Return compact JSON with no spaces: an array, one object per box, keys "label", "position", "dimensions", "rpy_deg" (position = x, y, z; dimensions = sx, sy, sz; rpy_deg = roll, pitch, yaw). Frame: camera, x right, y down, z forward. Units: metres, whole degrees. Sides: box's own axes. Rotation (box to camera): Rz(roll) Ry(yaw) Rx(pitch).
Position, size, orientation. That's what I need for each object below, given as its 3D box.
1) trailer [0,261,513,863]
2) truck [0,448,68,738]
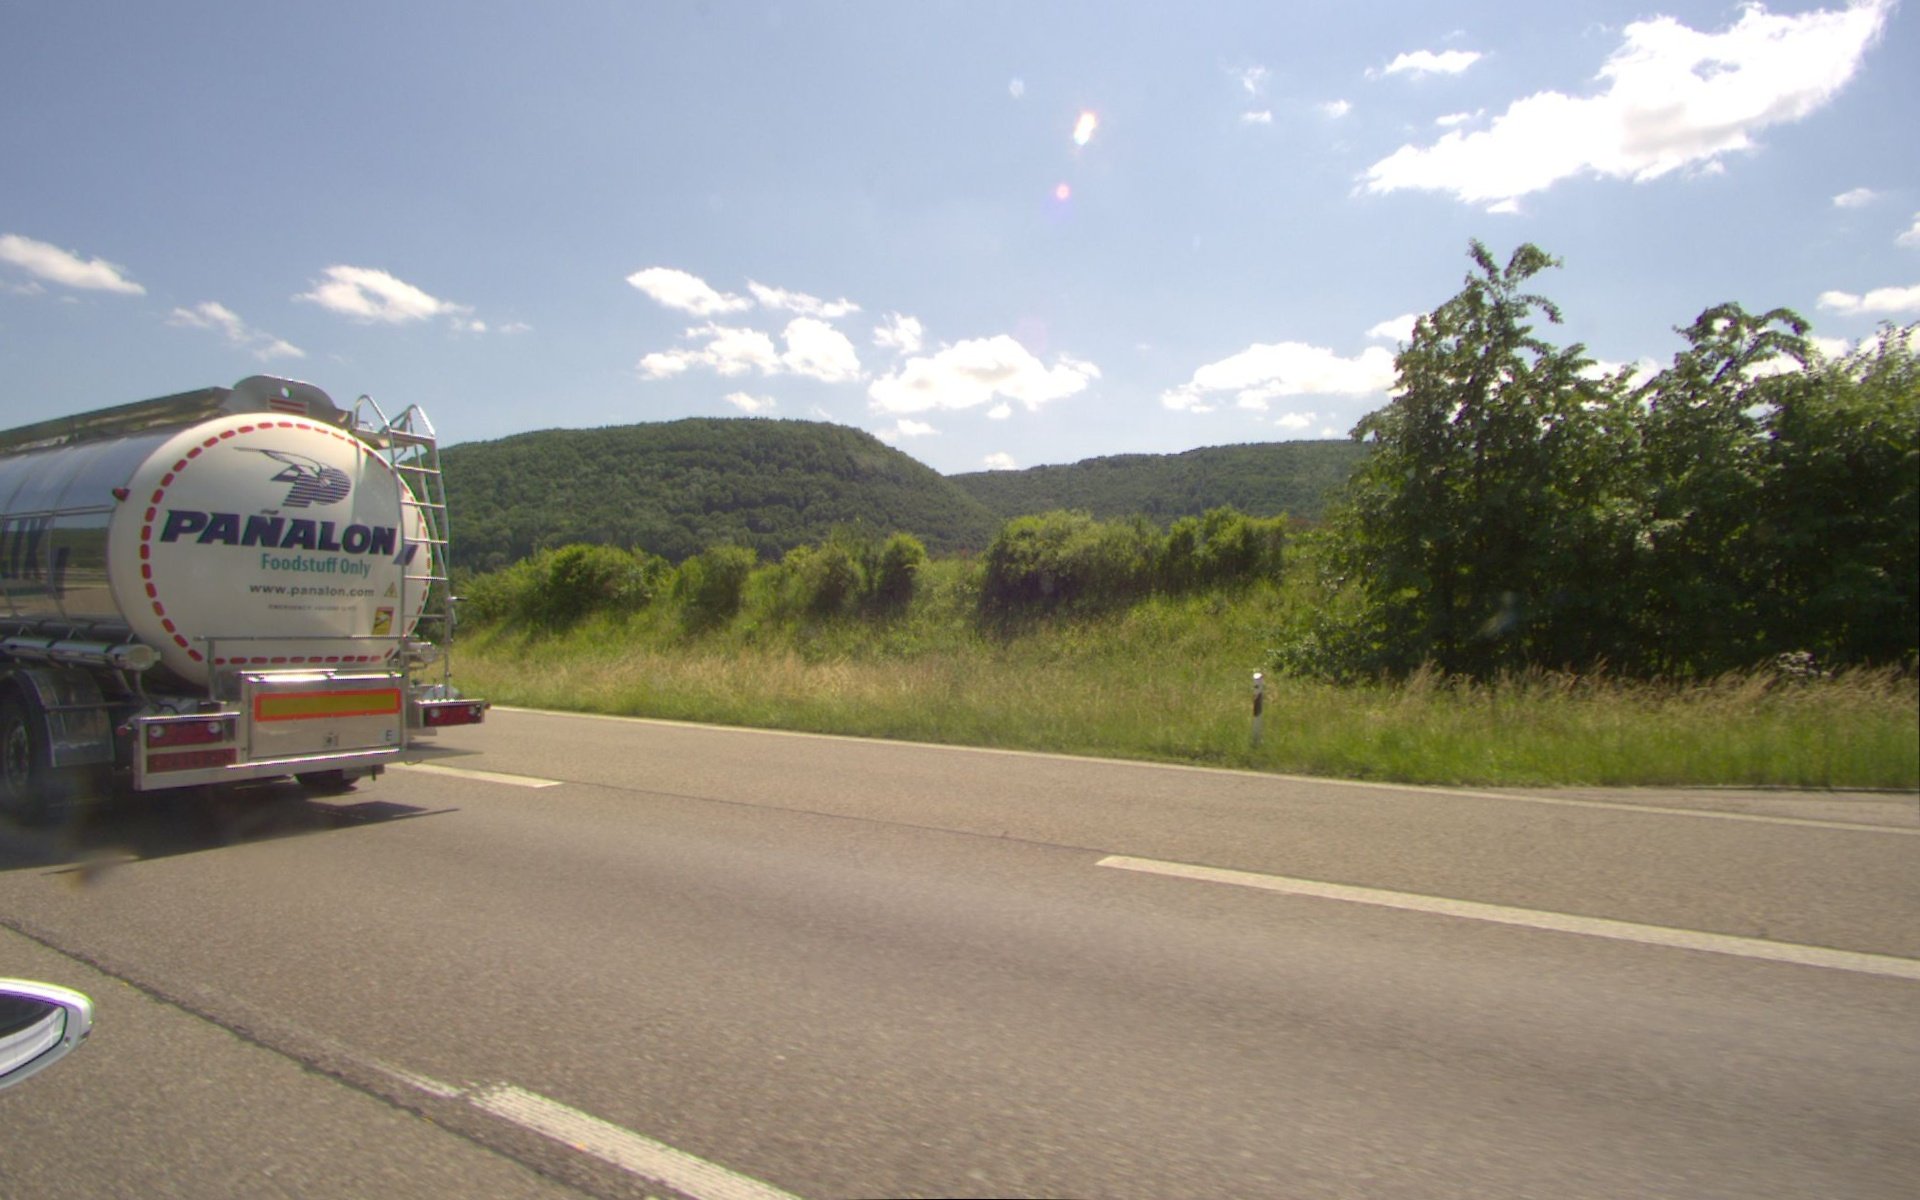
[{"label":"trailer","position":[-9.415,-0.153,10.483],"dimensions":[11.719,3.784,2.534],"rpy_deg":[-1,-1,32]},{"label":"truck","position":[-15.083,-0.079,14.011],"dimensions":[5.169,3.807,2.507],"rpy_deg":[0,-1,32]}]
